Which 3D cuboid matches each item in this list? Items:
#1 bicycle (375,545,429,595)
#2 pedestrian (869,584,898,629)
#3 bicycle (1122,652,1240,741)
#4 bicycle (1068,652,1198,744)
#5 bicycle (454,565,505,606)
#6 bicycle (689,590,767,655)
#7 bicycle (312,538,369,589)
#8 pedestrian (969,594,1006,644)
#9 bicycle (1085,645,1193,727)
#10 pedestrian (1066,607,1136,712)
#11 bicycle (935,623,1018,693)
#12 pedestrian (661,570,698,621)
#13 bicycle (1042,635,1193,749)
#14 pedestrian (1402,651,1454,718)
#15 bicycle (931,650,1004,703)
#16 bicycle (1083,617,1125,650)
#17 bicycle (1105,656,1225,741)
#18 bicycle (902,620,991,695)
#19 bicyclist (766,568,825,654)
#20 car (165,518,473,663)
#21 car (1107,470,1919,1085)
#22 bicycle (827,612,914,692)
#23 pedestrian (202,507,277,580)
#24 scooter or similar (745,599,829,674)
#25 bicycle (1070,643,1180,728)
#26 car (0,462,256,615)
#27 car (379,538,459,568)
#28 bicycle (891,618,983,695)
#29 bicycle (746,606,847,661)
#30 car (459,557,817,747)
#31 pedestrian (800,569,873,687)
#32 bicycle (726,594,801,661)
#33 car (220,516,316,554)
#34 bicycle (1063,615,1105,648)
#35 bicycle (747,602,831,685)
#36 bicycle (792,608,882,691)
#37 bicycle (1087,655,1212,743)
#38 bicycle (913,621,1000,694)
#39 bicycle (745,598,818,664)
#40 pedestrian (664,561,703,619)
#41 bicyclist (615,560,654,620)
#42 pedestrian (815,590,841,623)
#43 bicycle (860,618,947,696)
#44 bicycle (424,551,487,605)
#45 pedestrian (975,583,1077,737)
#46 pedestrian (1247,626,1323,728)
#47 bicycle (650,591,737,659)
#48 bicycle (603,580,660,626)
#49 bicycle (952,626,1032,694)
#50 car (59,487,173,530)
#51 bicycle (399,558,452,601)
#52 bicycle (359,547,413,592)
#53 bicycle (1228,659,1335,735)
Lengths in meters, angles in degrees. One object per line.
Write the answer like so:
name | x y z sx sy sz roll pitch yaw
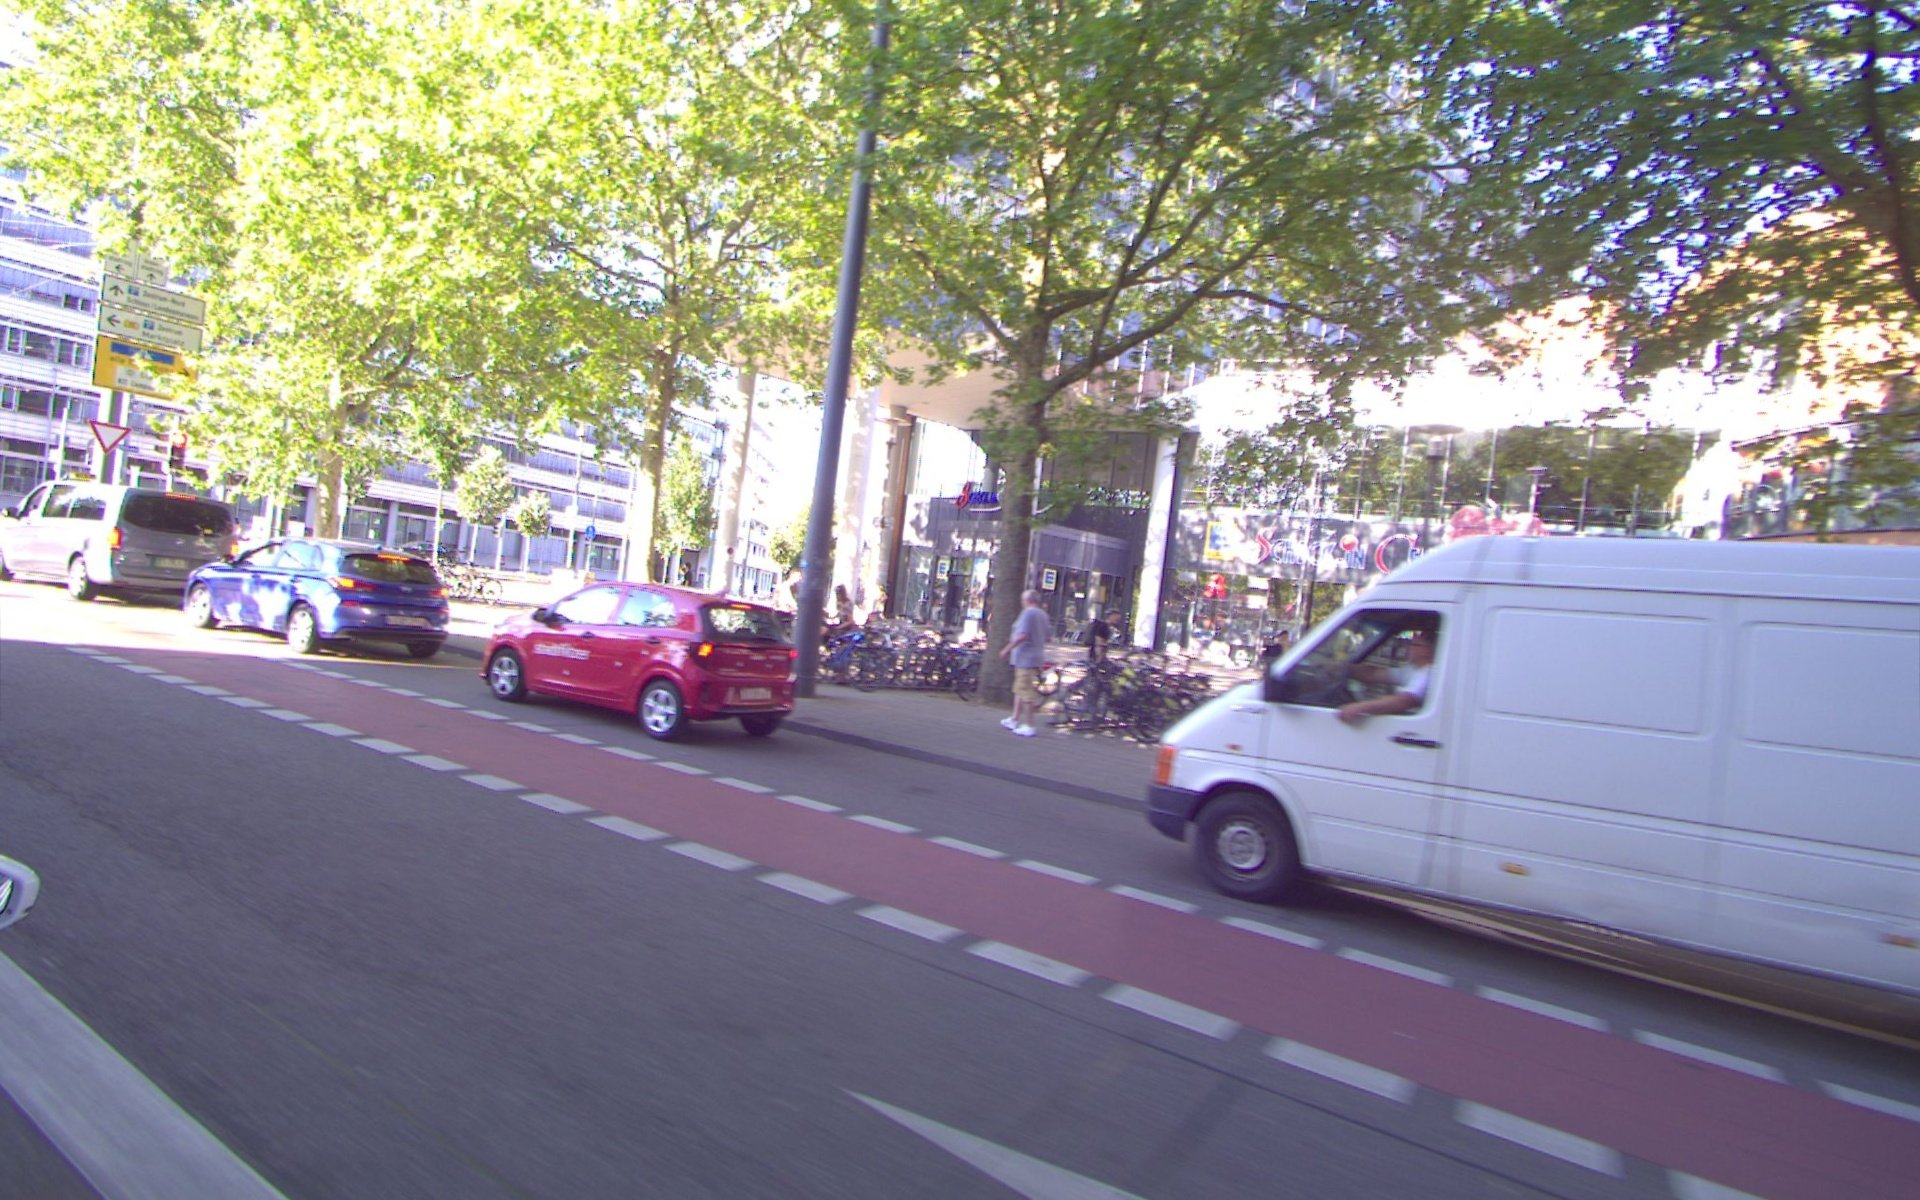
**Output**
bicycle | -14.706 -0.786 26.495 1.451 1.159 0.451 7 1 28
pedestrian | -3.047 0.267 40.253 0.694 1.662 0.775 7 1 25
bicycle | 3.499 1.514 15.967 1.627 1.151 0.502 7 1 30
bicycle | 2.473 1.382 14.410 1.627 1.044 0.596 7 1 30
bicycle | -13.620 -0.410 28.514 1.451 0.995 0.451 7 1 28
bicycle | -4.524 0.429 19.599 1.451 1.095 0.421 7 1 28
bicycle | -15.535 -0.920 25.221 1.451 1.107 0.489 7 1 28
pedestrian | 0.993 0.696 36.504 0.850 1.662 0.967 7 1 27
bicycle | 3.088 1.477 17.448 1.667 1.174 0.478 7 1 34
pedestrian | 2.555 1.070 18.195 0.759 1.779 0.817 7 1 35
bicycle | 0.317 1.121 19.627 1.449 1.174 0.422 7 1 22
pedestrian | -10.084 -0.163 36.222 0.851 1.701 0.849 7 -1 4
bicycle | 2.151 1.236 13.842 1.844 1.280 0.596 7 1 30
pedestrian | 13.981 2.520 30.054 0.991 1.867 0.844 6 1 -35
bicycle | 0.132 1.269 16.655 1.101 0.770 0.396 7 0 -33
bicycle | 5.781 1.340 40.259 0.708 1.142 1.913 7 0 37
bicycle | 3.154 1.496 15.517 1.627 1.044 0.502 7 1 30
bicycle | -0.248 1.035 18.358 1.449 1.174 0.422 7 1 22
bicyclist | -3.676 0.249 22.450 0.837 1.790 0.752 7 1 26
car | -8.972 -0.149 14.022 4.144 1.482 1.768 7 0 29
car | 4.395 0.887 5.990 6.455 2.756 1.996 7 -1 33
bicycle | -1.537 0.862 17.019 0.591 1.130 1.810 6 0 -32
pedestrian | -20.558 -1.600 28.711 1.023 1.843 1.213 7 -1 24
scooter or similar | -3.064 0.665 17.905 0.899 1.154 1.259 5 -4 16
bicycle | 2.776 1.429 17.004 1.667 1.174 0.478 7 1 34
car | -14.554 -1.101 17.224 5.050 1.988 1.998 7 -2 30
car | -35.784 -3.101 66.575 1.768 1.409 4.240 7 0 37
bicycle | -0.415 0.994 17.914 1.449 1.174 0.479 7 1 22
bicycle | -3.663 0.744 22.434 2.145 0.945 0.667 7 0 26
car | -3.513 0.513 10.870 3.560 1.481 1.562 7 -1 30
pedestrian | -2.017 0.450 16.404 0.801 1.808 0.651 6 1 -34
bicycle | -3.972 0.552 20.300 1.451 1.174 0.421 7 1 28
car | -40.776 -3.823 59.365 1.767 1.579 4.242 7 0 35
bicycle | 5.017 1.279 40.690 0.708 1.142 1.913 7 0 37
bicycle | -2.790 0.684 16.288 0.591 1.130 1.810 6 0 -32
bicycle | -2.044 0.778 16.431 0.591 1.130 1.932 6 0 -32
bicycle | 2.808 1.446 14.981 1.627 1.044 0.596 7 1 30
bicycle | -0.070 1.066 18.805 1.449 1.174 0.422 7 1 22
bicycle | -3.704 0.638 20.833 1.452 1.174 0.421 7 1 31
pedestrian | -9.557 -0.335 34.818 0.851 1.841 0.849 7 -1 2
bicyclist | -9.482 -0.293 29.297 0.809 1.636 0.562 7 1 36
pedestrian | -6.249 0.298 47.645 0.763 1.460 0.705 7 1 32
bicycle | -1.005 0.964 17.393 0.602 1.130 1.810 6 0 -32
bicycle | -13.979 -0.619 27.861 1.854 1.303 0.451 7 1 28
pedestrian | 0.842 0.752 12.765 0.795 1.808 0.873 7 1 30
pedestrian | 6.205 1.455 19.189 1.003 1.779 0.786 7 1 35
bicycle | -4.952 0.459 18.658 1.548 1.070 0.627 7 1 36
bicycle | -9.603 0.091 29.359 1.751 1.140 0.566 7 1 36
bicycle | 0.645 1.192 20.296 1.449 1.174 0.422 7 1 22
car | -44.966 -4.854 53.677 1.767 1.621 4.243 7 0 34
bicycle | -14.442 -0.564 27.173 1.451 0.995 0.451 7 1 28
bicycle | -14.823 -0.797 25.974 1.451 0.991 0.421 7 1 28
bicycle | 6.132 1.833 19.223 1.742 1.174 0.576 7 1 36
